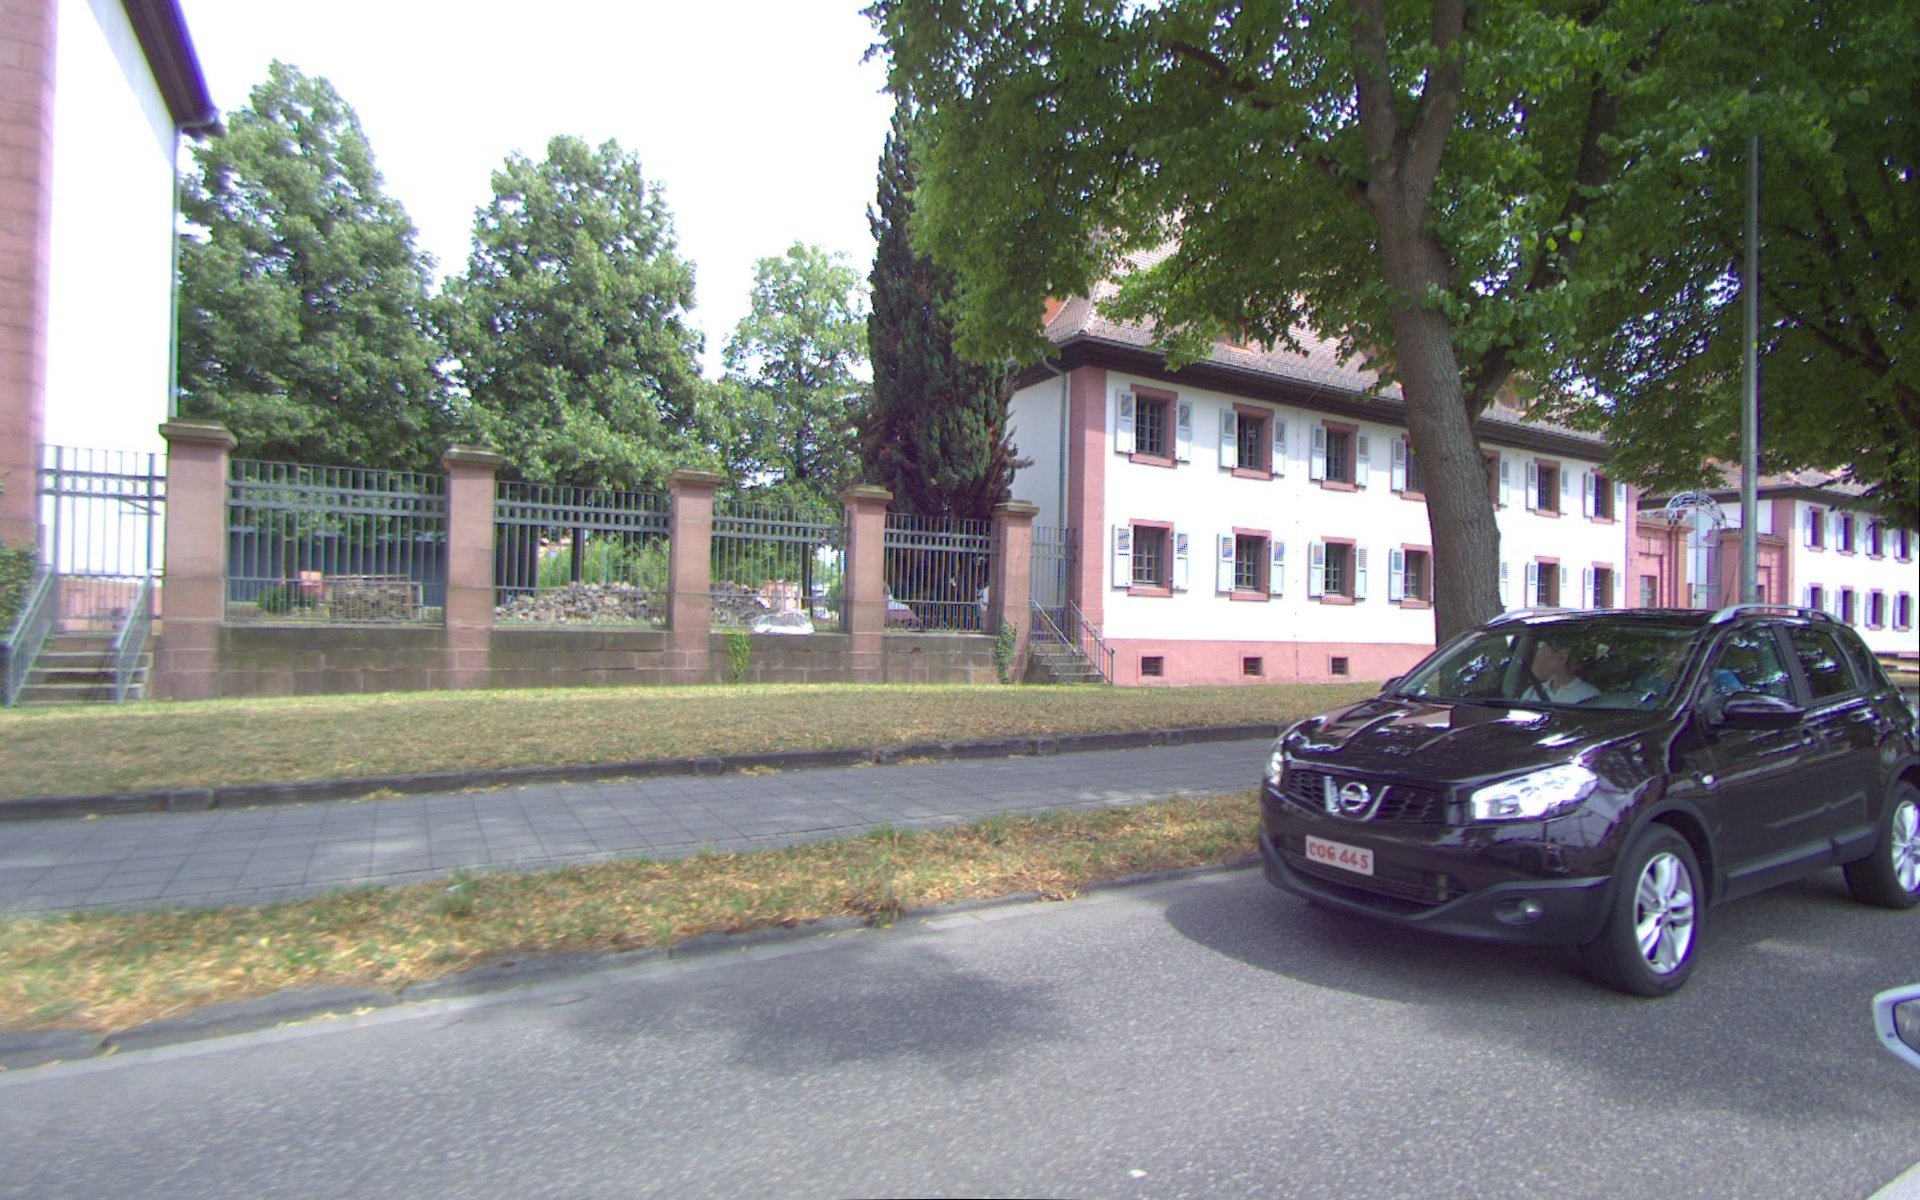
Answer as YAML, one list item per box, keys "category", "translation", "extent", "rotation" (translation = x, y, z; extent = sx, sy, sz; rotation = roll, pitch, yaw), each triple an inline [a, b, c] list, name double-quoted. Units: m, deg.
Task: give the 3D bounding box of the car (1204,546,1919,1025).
- category: "car"
  translation: [3.481, 0.734, 5.383]
  extent: [4.207, 1.681, 1.763]
  rotation: [2, -3, -30]
